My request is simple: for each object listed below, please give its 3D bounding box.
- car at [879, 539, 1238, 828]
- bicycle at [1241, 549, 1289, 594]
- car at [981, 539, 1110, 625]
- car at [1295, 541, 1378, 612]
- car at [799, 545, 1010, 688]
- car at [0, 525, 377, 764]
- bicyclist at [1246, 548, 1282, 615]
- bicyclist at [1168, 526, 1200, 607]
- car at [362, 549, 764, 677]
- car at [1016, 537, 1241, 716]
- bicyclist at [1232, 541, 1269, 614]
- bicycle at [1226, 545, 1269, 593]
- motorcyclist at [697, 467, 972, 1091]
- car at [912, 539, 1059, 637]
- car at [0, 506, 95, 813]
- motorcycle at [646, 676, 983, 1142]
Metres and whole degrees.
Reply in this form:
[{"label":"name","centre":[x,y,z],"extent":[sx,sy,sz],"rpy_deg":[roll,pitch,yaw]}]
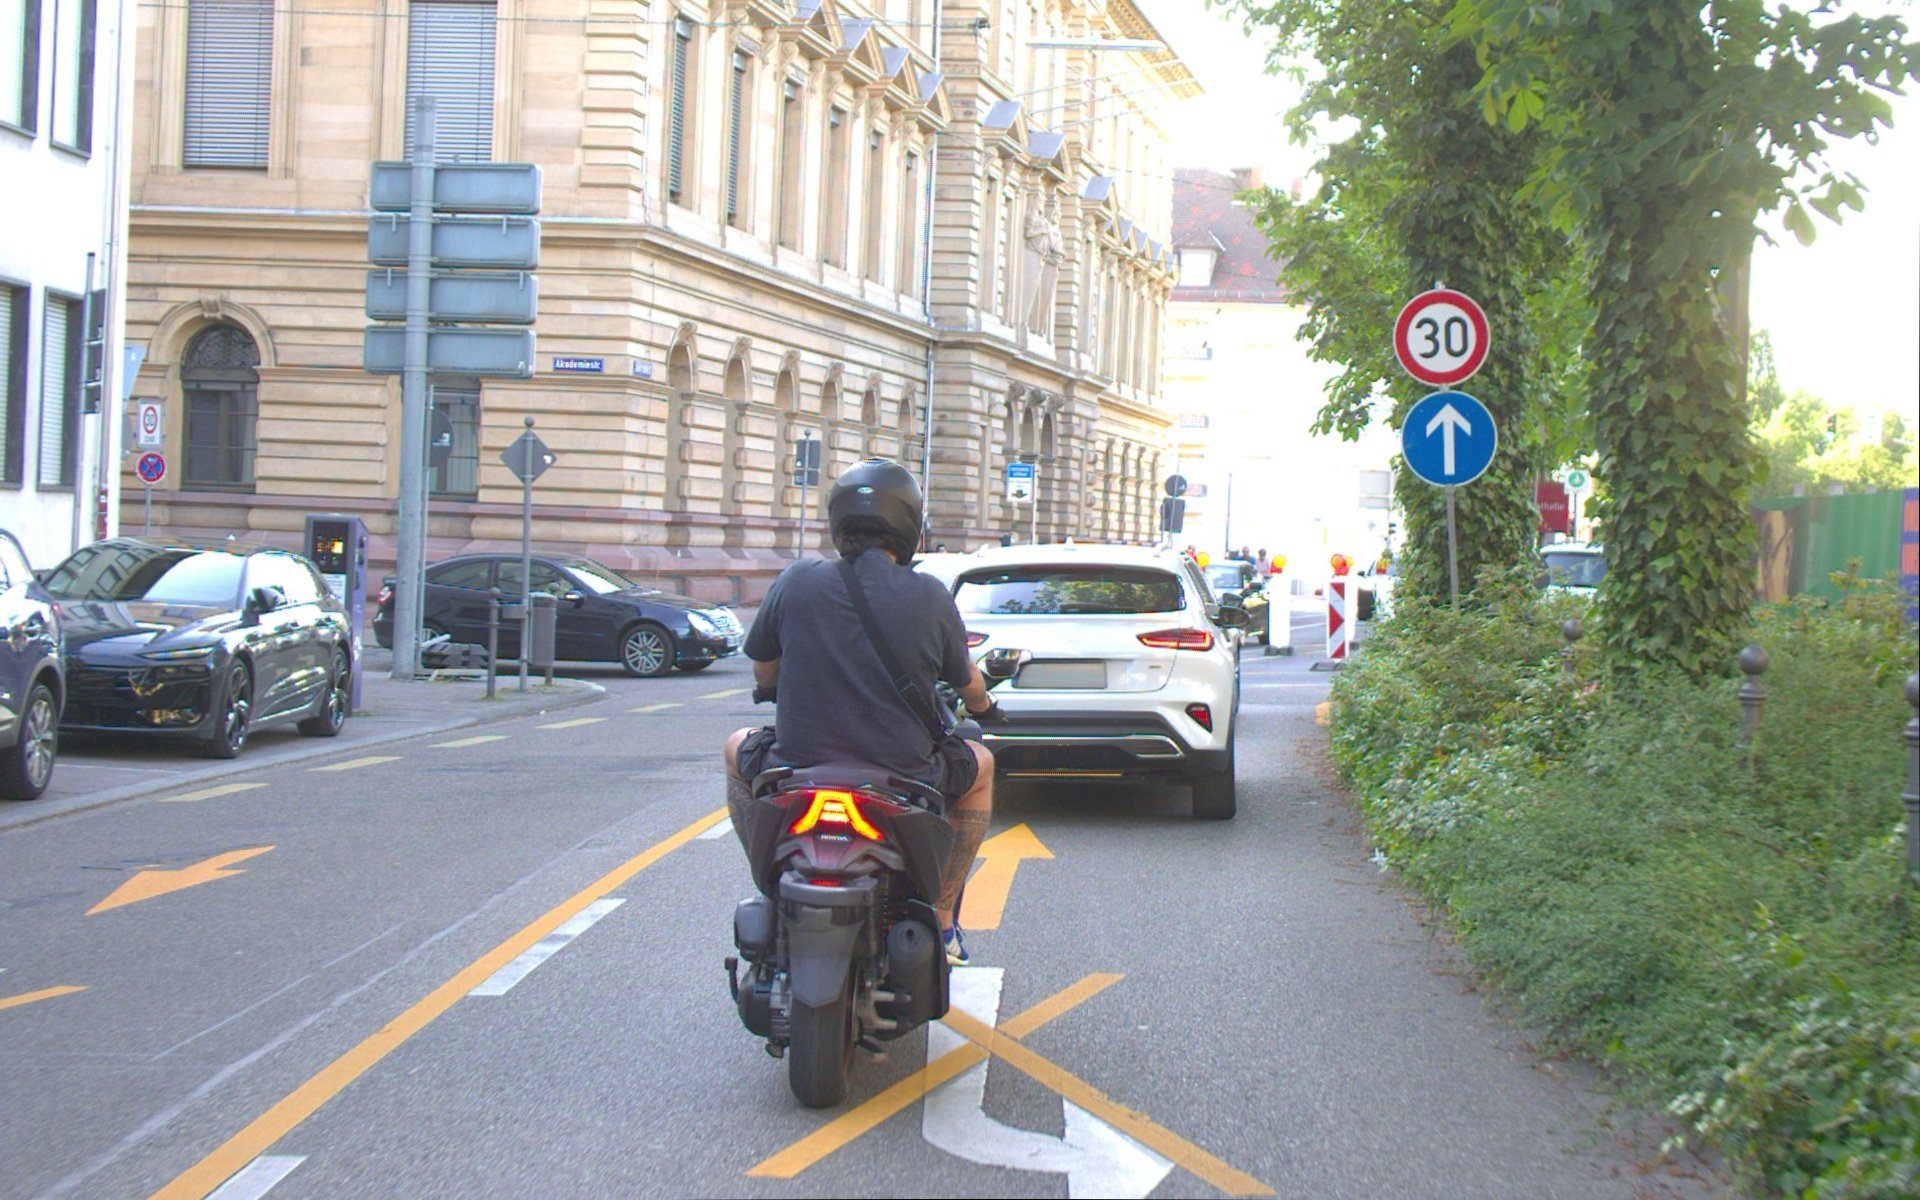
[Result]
[{"label":"car","centre":[0.585,0.396,19.736],"extent":[1.851,1.475,4.057],"rpy_deg":[0,1,2]},{"label":"bicycle","centre":[7.166,-0.667,80.687],"extent":[0.533,1.031,2.033],"rpy_deg":[1,1,22]},{"label":"car","centre":[1.637,-0.367,64.215],"extent":[1.994,1.523,4.183],"rpy_deg":[1,1,7]},{"label":"car","centre":[9.475,-0.616,86.359],"extent":[1.994,1.689,4.398],"rpy_deg":[1,1,7]},{"label":"car","centre":[-0.541,0.137,37.754],"extent":[1.735,1.416,4.428],"rpy_deg":[-2,1,6]},{"label":"car","centre":[-5.739,0.248,25.270],"extent":[1.824,1.498,4.760],"rpy_deg":[3,1,3]},{"label":"bicyclist","centre":[7.145,-0.439,80.765],"extent":[0.629,1.548,0.731],"rpy_deg":[1,1,23]},{"label":"bicyclist","centre":[4.697,-0.703,71.946],"extent":[0.566,1.661,0.834],"rpy_deg":[1,1,9]},{"label":"car","centre":[-4.614,0.132,40.146],"extent":[4.316,1.385,1.775],"rpy_deg":[1,1,12]},{"label":"car","centre":[1.619,0.194,31.807],"extent":[1.840,1.458,4.057],"rpy_deg":[3,1,5]},{"label":"bicyclist","centre":[6.454,-0.502,76.406],"extent":[0.629,1.608,0.869],"rpy_deg":[1,1,17]},{"label":"bicycle","centre":[6.393,-0.691,76.370],"extent":[0.533,1.031,1.905],"rpy_deg":[1,1,17]},{"label":"motorcyclist","centre":[-0.345,0.474,9.533],"extent":[0.657,1.645,0.651],"rpy_deg":[3,1,-2]},{"label":"car","centre":[0.469,-0.231,57.675],"extent":[1.994,1.561,4.288],"rpy_deg":[1,1,7]},{"label":"car","centre":[-6.169,0.313,18.080],"extent":[1.934,1.662,4.347],"rpy_deg":[1,1,3]},{"label":"motorcycle","centre":[-0.381,0.797,9.500],"extent":[0.796,1.062,1.725],"rpy_deg":[3,1,-1]}]
